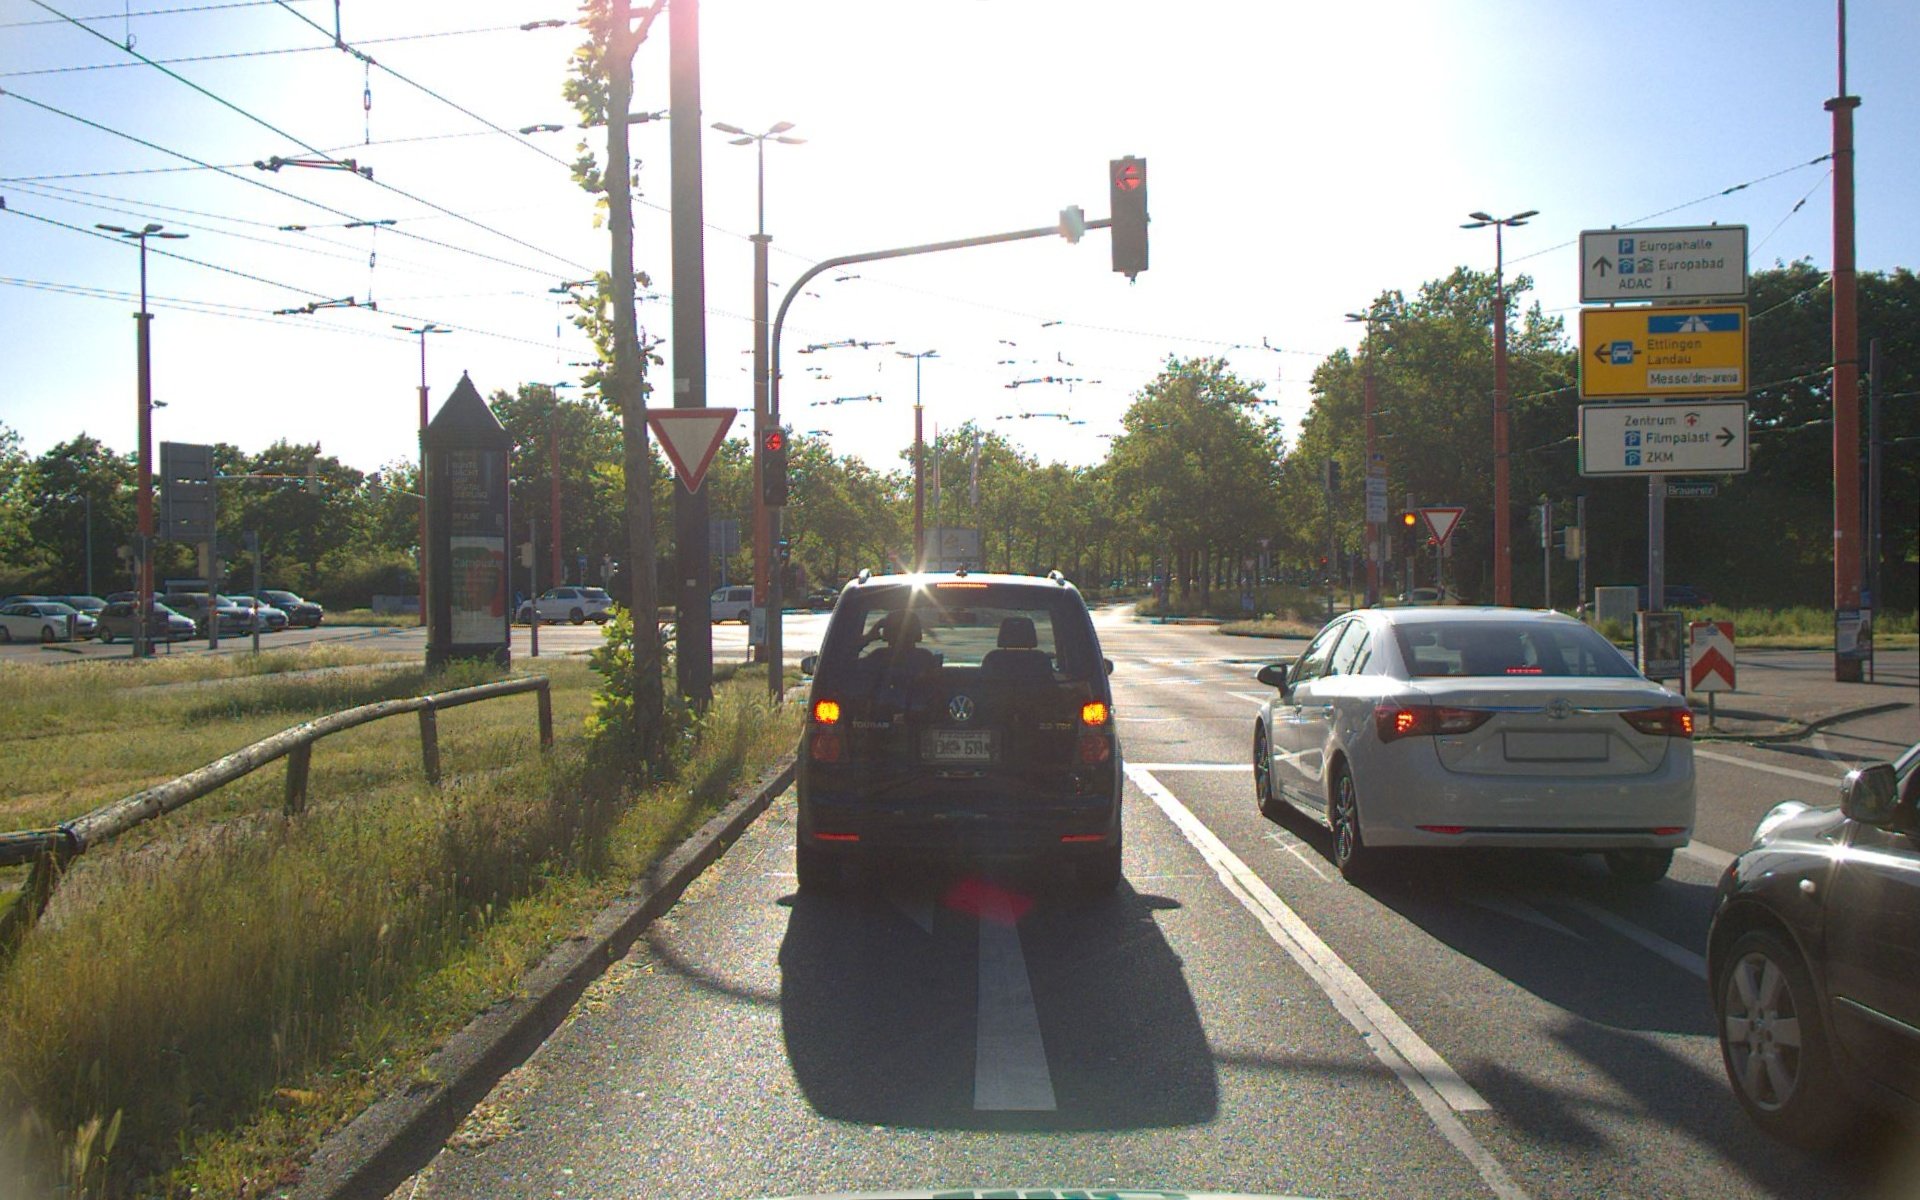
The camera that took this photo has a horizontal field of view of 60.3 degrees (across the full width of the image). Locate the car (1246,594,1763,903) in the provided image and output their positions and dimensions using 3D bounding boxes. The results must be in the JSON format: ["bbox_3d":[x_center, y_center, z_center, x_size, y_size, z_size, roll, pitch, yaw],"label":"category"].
[{"bbox_3d":[3.016,0.729,10.179,1.762,1.465,4.326,1,0,0],"label":"car"}]

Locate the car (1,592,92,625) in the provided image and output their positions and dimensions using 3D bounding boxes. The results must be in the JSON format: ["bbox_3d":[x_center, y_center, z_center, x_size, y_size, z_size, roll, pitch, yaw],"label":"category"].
[{"bbox_3d":[-40.873,0.365,73.987,4.060,1.440,1.542,0,0,26],"label":"car"}]

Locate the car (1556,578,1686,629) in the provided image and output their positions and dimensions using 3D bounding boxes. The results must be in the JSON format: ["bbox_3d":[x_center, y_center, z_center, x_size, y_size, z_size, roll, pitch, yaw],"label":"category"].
[{"bbox_3d":[22.904,0.111,57.355,4.118,1.710,1.656,0,0,23],"label":"car"}]

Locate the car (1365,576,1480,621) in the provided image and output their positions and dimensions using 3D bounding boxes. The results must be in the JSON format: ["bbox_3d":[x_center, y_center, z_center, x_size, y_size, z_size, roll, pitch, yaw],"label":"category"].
[{"bbox_3d":[18.133,-0.065,64.800,4.120,1.710,1.655,0,0,26],"label":"car"}]

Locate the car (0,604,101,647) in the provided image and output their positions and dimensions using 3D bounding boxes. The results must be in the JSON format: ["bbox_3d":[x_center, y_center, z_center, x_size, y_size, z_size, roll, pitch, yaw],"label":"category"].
[{"bbox_3d":[-35.052,0.966,63.311,4.536,1.546,1.654,0,0,30],"label":"car"}]

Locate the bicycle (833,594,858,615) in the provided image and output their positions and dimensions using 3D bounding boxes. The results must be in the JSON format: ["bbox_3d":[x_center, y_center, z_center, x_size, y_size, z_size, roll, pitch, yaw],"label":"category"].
[{"bbox_3d":[-8.013,0.292,115.906,0.955,1.413,2.982,0,0,12],"label":"bicycle"}]

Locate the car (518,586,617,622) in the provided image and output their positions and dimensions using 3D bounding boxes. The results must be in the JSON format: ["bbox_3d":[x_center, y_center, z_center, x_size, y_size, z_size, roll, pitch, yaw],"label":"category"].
[{"bbox_3d":[-18.733,0.177,78.928,4.568,1.654,1.655,0,0,26],"label":"car"}]

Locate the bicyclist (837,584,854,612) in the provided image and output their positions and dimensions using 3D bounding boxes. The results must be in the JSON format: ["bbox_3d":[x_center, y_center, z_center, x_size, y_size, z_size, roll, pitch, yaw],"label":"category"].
[{"bbox_3d":[-8.006,-0.140,115.948,0.955,1.937,1.051,0,0,12],"label":"bicyclist"}]

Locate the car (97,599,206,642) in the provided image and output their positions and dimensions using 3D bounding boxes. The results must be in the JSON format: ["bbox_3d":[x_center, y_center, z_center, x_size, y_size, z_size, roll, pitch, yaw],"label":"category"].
[{"bbox_3d":[-29.469,0.729,60.253,3.755,1.466,1.655,0,0,27],"label":"car"}]

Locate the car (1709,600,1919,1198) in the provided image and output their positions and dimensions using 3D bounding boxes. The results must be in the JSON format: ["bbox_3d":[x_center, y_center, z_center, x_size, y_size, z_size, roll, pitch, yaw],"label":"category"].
[{"bbox_3d":[3.137,0.742,3.482,1.544,1.465,3.441,1,0,0],"label":"car"}]

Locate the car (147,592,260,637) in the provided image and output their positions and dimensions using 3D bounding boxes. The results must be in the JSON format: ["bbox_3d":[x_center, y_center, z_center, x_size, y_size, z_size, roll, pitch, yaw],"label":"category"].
[{"bbox_3d":[-29.319,0.538,64.084,4.541,1.676,1.654,0,0,30],"label":"car"}]

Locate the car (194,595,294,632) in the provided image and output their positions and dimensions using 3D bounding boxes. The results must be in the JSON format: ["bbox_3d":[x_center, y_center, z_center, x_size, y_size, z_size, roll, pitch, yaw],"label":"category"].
[{"bbox_3d":[-29.406,0.529,67.919,4.060,1.440,1.542,0,0,26],"label":"car"}]

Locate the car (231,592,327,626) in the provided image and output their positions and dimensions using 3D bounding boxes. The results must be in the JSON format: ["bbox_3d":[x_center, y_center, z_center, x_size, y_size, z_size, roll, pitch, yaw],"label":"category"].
[{"bbox_3d":[-29.470,0.370,71.542,4.060,1.440,1.542,0,0,26],"label":"car"}]

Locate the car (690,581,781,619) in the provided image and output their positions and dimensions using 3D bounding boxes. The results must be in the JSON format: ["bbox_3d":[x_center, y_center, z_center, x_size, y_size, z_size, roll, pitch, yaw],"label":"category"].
[{"bbox_3d":[-10.766,-0.021,79.330,4.036,1.780,1.656,0,0,24],"label":"car"}]

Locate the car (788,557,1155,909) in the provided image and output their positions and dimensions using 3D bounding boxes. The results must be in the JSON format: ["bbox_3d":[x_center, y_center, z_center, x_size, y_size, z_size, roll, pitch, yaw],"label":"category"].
[{"bbox_3d":[0.068,0.635,9.957,1.703,1.630,4.326,1,0,0],"label":"car"}]

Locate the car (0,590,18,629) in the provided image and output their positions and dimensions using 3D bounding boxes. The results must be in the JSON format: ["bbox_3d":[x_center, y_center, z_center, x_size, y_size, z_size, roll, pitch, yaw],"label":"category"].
[{"bbox_3d":[-42.986,0.381,71.627,4.541,1.676,1.753,0,0,30],"label":"car"}]

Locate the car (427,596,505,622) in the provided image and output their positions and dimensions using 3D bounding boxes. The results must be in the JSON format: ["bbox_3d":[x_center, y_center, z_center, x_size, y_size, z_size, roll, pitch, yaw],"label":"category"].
[{"bbox_3d":[-28.349,0.508,94.939,4.031,1.427,1.658,0,0,15],"label":"car"}]
